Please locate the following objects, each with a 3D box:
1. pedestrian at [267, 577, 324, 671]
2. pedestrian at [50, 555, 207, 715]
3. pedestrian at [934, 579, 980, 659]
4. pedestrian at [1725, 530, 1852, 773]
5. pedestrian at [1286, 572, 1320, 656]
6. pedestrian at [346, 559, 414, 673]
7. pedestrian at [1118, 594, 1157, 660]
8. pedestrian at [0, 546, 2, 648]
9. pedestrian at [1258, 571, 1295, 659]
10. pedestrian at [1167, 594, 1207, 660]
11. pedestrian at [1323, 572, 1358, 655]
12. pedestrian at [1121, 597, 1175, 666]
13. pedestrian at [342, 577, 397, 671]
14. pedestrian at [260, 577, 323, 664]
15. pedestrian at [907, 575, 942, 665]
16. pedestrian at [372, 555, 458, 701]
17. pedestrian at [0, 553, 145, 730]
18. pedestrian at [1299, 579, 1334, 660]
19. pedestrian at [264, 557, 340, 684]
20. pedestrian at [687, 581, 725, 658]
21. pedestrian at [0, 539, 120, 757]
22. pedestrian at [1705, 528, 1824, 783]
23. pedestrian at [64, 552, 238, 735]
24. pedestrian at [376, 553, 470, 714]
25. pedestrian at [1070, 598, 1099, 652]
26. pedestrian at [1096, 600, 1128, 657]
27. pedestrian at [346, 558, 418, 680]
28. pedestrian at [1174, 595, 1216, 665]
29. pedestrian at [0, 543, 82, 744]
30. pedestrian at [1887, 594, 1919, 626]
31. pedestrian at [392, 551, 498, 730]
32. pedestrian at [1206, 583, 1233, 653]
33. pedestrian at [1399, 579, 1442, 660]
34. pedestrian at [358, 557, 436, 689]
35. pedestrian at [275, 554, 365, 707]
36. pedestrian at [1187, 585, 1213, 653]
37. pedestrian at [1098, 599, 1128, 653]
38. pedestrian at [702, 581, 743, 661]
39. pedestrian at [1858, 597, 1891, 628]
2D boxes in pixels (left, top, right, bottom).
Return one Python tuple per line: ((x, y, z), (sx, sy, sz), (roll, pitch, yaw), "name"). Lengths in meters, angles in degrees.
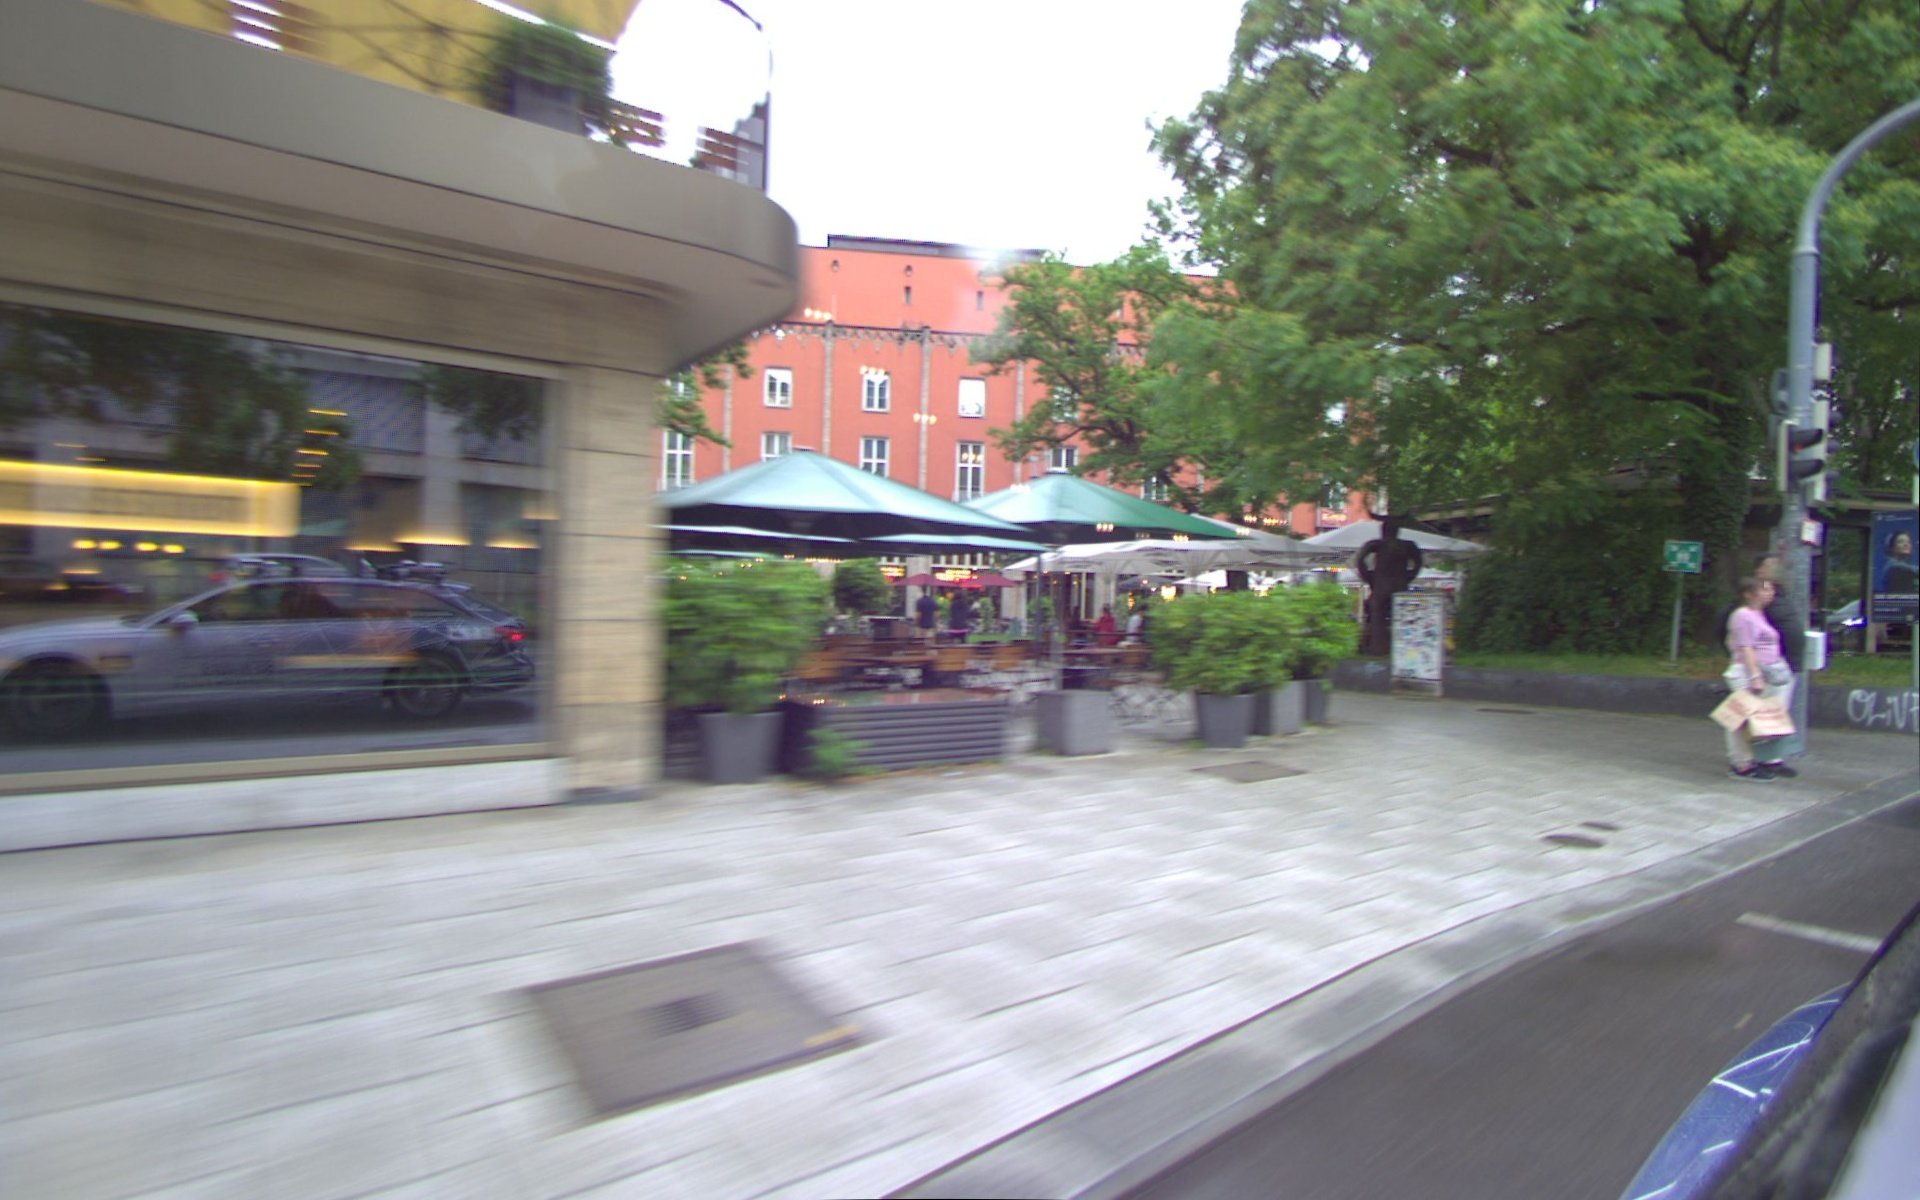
((-7.796, 0.278, 11.882), (0.534, 1.069, 0.556), (1, -1, -33), "pedestrian")
((-5.835, 0.229, 7.126), (0.614, 1.069, 0.605), (0, -1, 16), "pedestrian")
((-0.078, 0.406, 22.075), (0.614, 1.702, 0.848), (0, -1, -38), "pedestrian")
((6.665, 0.385, 8.150), (0.552, 1.857, 0.635), (0, 1, -31), "pedestrian")
((7.088, 0.284, 20.917), (0.537, 1.702, 0.499), (0, -1, 3), "pedestrian")
((-5.659, 0.153, 9.865), (0.534, 1.069, 0.556), (1, -1, -33), "pedestrian")
((3.695, 0.560, 21.127), (0.629, 1.344, 0.719), (0, -1, -3), "pedestrian")
((-5.768, 0.233, 5.723), (0.328, 1.087, 0.473), (0, -1, 42), "pedestrian")
((6.749, 0.325, 21.606), (0.630, 1.859, 0.499), (0, -1, 3), "pedestrian")
((4.744, 0.559, 21.154), (0.629, 1.344, 0.719), (0, -1, -3), "pedestrian")
((7.850, 0.279, 20.910), (0.537, 1.702, 0.499), (0, -1, 3), "pedestrian")
((3.721, 0.618, 20.112), (0.928, 1.344, 0.642), (0, -1, -1), "pedestrian")
((-6.979, 0.276, 11.957), (0.534, 1.069, 0.556), (1, -1, -33), "pedestrian")
((-8.515, 0.252, 12.903), (0.639, 1.069, 0.556), (1, -1, -33), "pedestrian")
((-0.766, 0.427, 21.854), (0.621, 1.914, 0.464), (0, -1, -39), "pedestrian")
((-4.202, 0.204, 7.794), (0.534, 1.069, 0.556), (1, -1, -33), "pedestrian")
((-5.662, 0.247, 6.444), (0.472, 1.069, 0.561), (0, -1, 16), "pedestrian")
((7.624, 0.419, 21.636), (0.537, 1.702, 0.605), (0, -1, 2), "pedestrian")
((-5.783, 0.177, 8.907), (0.534, 1.069, 0.556), (1, -1, -33), "pedestrian")
((-5.622, 0.420, 22.403), (0.614, 1.664, 0.677), (0, -1, -38), "pedestrian")
((-4.768, 0.235, 5.231), (0.400, 1.069, 0.545), (1, -1, -4), "pedestrian")
((6.152, 0.394, 7.770), (0.586, 1.857, 0.623), (0, 1, 28), "pedestrian")
((-5.007, 0.250, 6.281), (0.614, 1.069, 0.605), (0, -1, 19), "pedestrian")
((-3.789, 0.224, 7.133), (0.534, 1.069, 0.556), (1, -1, -33), "pedestrian")
((2.953, 0.594, 24.042), (0.565, 1.256, 0.634), (0, -1, -4), "pedestrian")
((3.372, 0.632, 22.524), (0.565, 1.256, 0.634), (0, -1, -3), "pedestrian")
((-5.317, 0.167, 9.299), (0.534, 1.069, 0.556), (1, -1, -33), "pedestrian")
((4.643, 0.587, 20.039), (0.629, 1.344, 0.719), (0, -1, -3), "pedestrian")
((-5.264, 0.234, 5.670), (0.340, 1.087, 0.473), (0, -1, 42), "pedestrian")
((26.859, 0.275, 28.796), (0.568, 0.883, 0.505), (1, 1, 26), "pedestrian")
((-3.276, 0.241, 6.431), (0.534, 1.069, 0.556), (1, -1, -33), "pedestrian")
((6.396, 0.447, 24.947), (0.537, 1.702, 0.499), (0, -1, 3), "pedestrian")
((9.829, 0.418, 21.618), (0.670, 1.702, 0.571), (0, -1, 4), "pedestrian")
((-4.779, 0.185, 8.580), (0.534, 1.069, 0.556), (1, -1, -33), "pedestrian")
((-4.728, 0.215, 7.486), (0.534, 1.069, 0.556), (1, -1, -33), "pedestrian")
((6.042, 0.479, 25.499), (0.537, 1.702, 0.499), (0, -1, 3), "pedestrian")
((3.607, 0.597, 23.936), (0.565, 1.256, 0.634), (0, -1, -4), "pedestrian")
((-5.069, 0.440, 21.601), (0.614, 1.664, 0.677), (0, -1, -38), "pedestrian")
((26.238, 0.353, 29.048), (0.568, 0.883, 0.505), (1, 1, 26), "pedestrian")
